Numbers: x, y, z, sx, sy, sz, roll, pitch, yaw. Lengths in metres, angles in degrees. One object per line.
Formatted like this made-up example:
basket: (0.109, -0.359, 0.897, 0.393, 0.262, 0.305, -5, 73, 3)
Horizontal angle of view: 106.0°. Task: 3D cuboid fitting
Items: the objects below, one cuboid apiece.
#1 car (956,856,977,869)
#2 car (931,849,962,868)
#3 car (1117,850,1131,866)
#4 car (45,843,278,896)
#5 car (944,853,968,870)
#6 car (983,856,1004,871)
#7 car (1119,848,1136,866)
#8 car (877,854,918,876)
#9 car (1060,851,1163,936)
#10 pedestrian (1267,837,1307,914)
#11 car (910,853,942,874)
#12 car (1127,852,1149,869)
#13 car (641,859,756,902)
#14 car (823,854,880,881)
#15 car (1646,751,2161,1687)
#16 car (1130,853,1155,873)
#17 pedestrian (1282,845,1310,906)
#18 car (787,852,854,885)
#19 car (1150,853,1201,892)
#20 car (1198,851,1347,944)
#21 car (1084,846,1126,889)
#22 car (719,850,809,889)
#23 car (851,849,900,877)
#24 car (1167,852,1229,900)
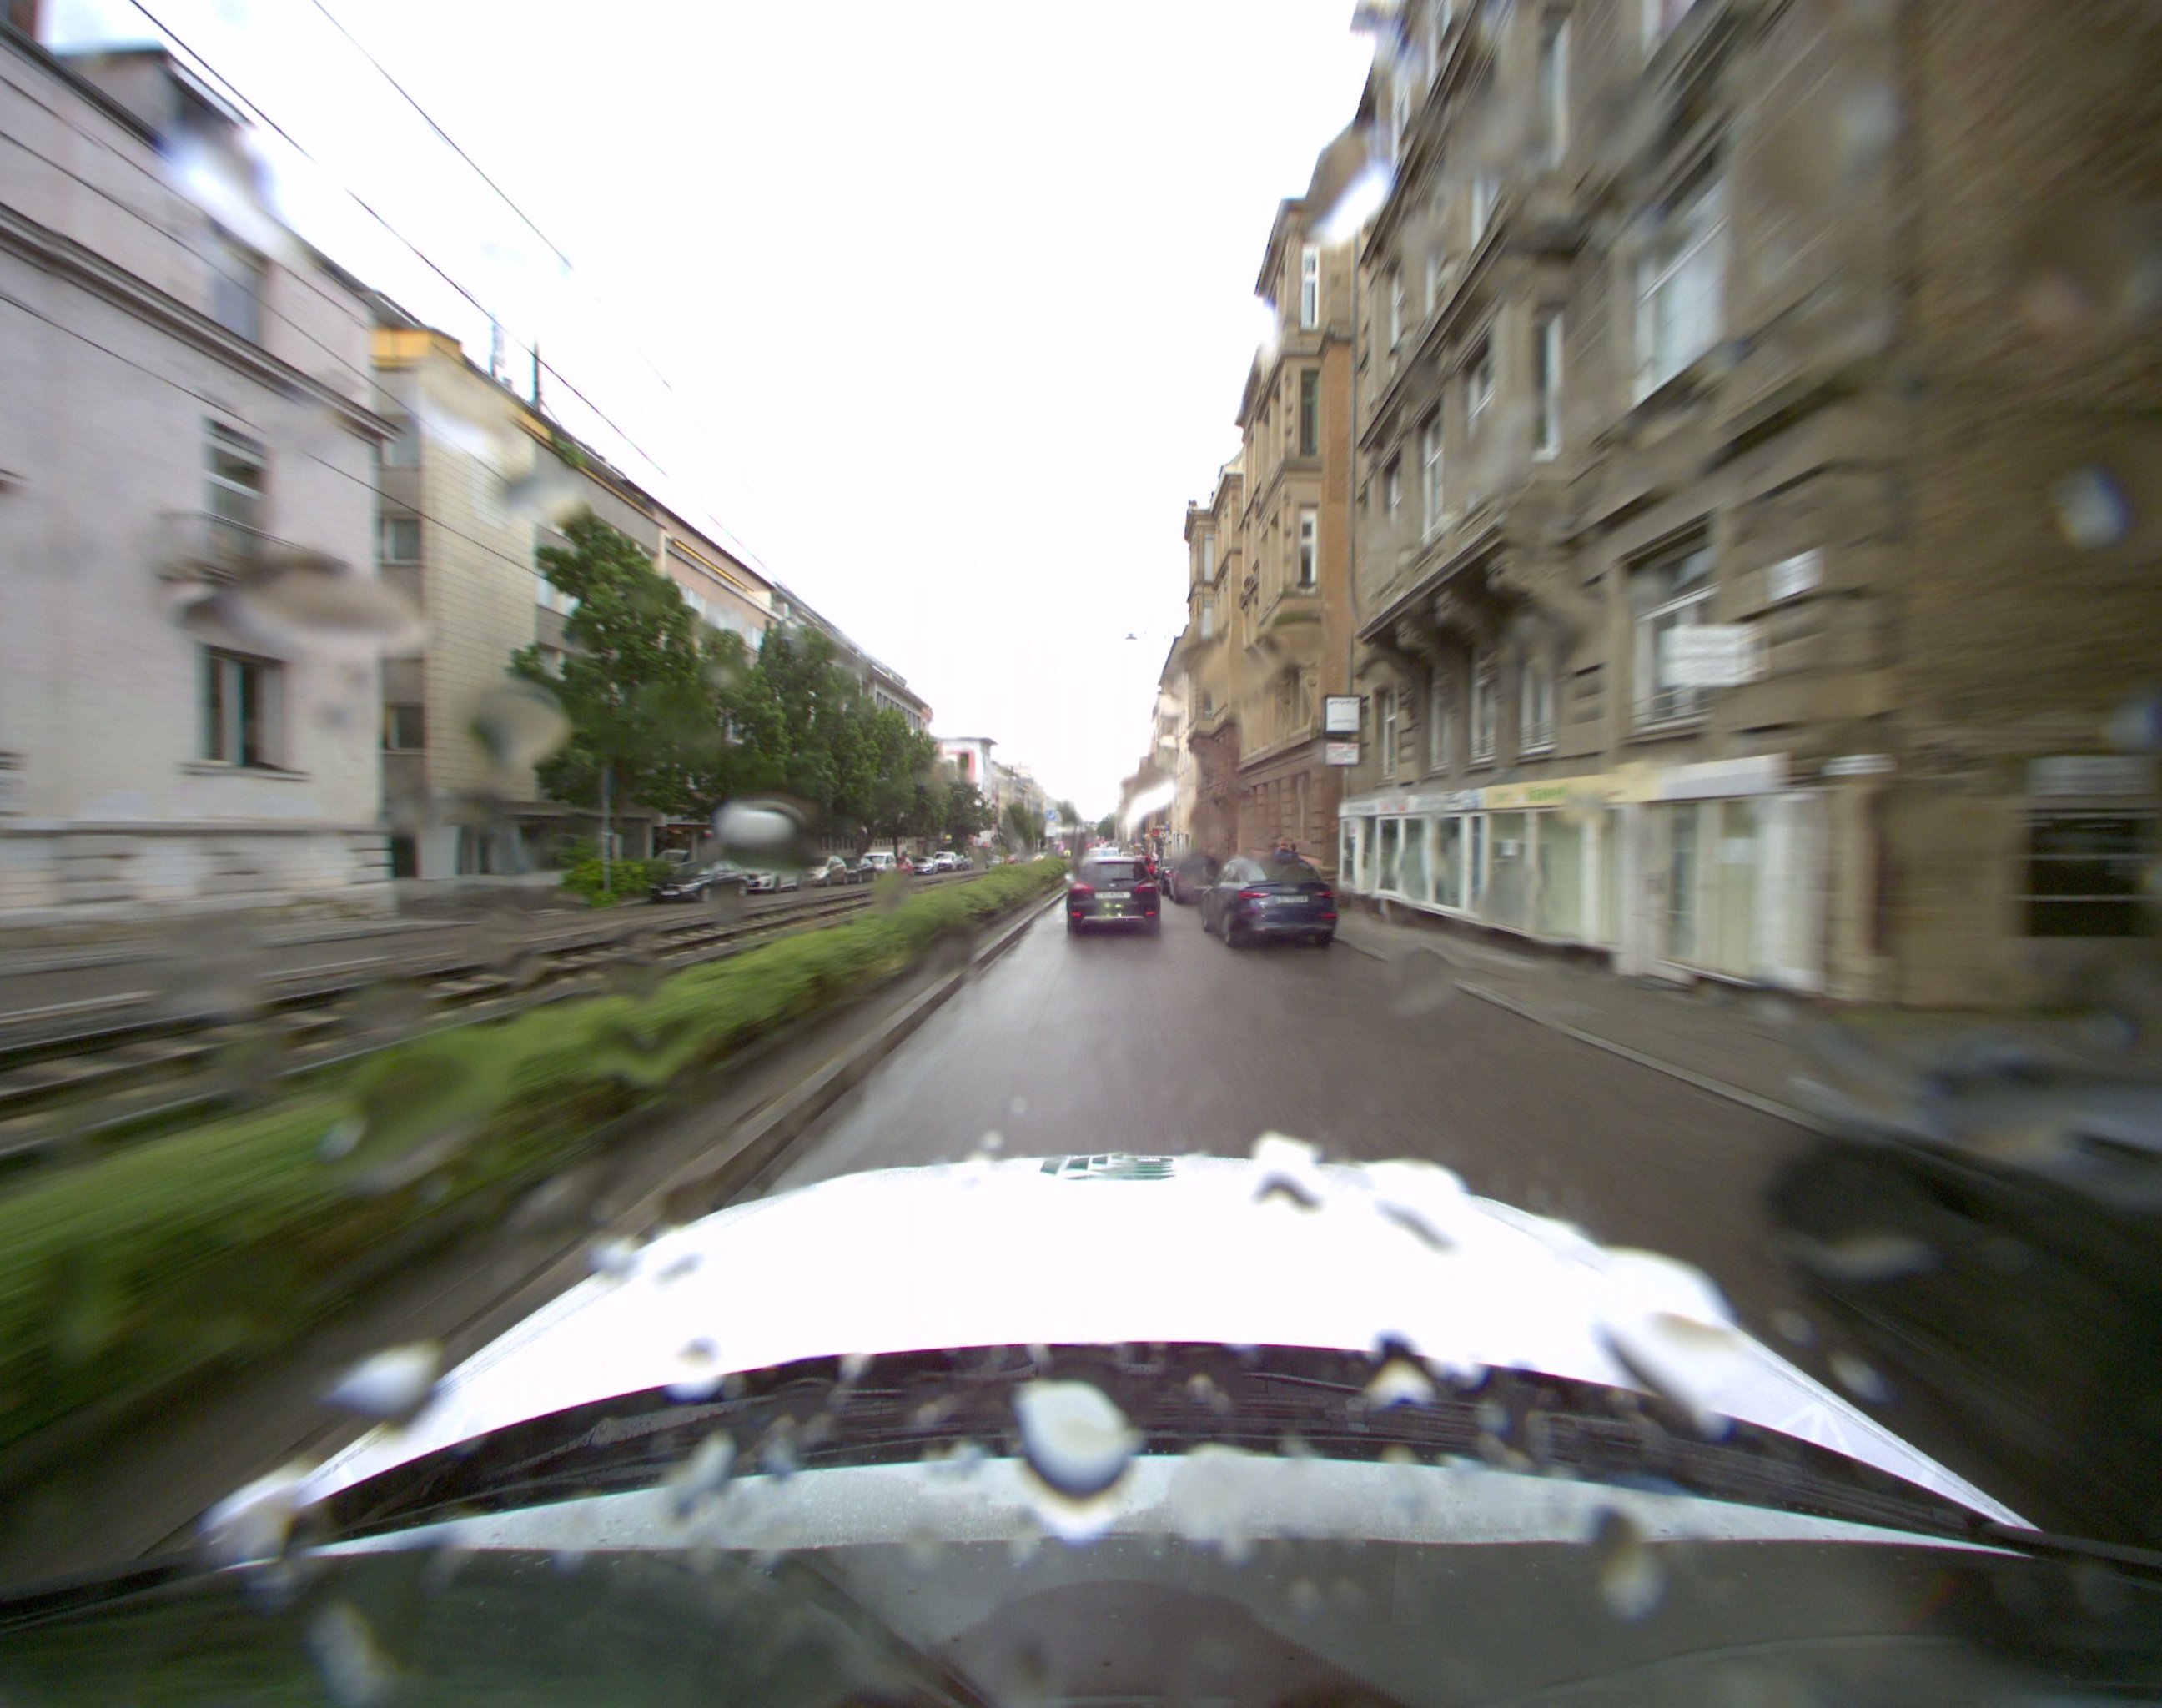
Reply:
car: (-12.303, 0.923, 87.723, 1.544, 1.395, 4.047, 1, -1, 2)
car: (-12.366, 0.480, 74.911, 1.848, 1.637, 4.936, 1, -1, 2)
car: (5.185, 0.548, 98.616, 1.585, 1.781, 3.780, 2, -2, 2)
car: (-25.975, 0.429, 23.115, 4.403, 1.418, 1.861, 0, -1, -1)
car: (-12.470, 0.786, 81.508, 1.688, 1.574, 4.047, 1, -1, 2)
car: (-10.005, 1.126, 93.397, 1.848, 1.637, 4.047, 1, -1, 2)
car: (5.256, 0.368, 92.546, 1.832, 1.781, 3.780, 2, -2, 2)
car: (-13.054, 0.821, 58.269, 1.848, 1.527, 4.047, 1, -1, 2)
car: (0.536, 0.727, 16.586, 1.837, 1.507, 3.998, -1, -1, -1)
pedestrian: (5.057, 0.514, 20.073, 0.700, 1.819, 0.961, -2, 1, 1)
car: (-12.416, 0.788, 65.478, 1.661, 1.558, 4.047, 1, -1, 2)
car: (4.650, 0.531, 66.724, 1.664, 1.421, 3.477, 0, 0, 1)
car: (-13.459, 0.948, 28.997, 1.687, 1.378, 4.722, 1, -2, 2)
car: (-12.983, 0.794, 46.314, 1.848, 1.418, 4.432, -2, -1, 2)
car: (2.775, 0.622, 0.471, 1.838, 1.632, 4.588, 0, -1, 2)
car: (4.516, 0.686, 59.966, 1.664, 1.421, 3.477, 0, 0, 1)
pedestrian: (5.751, 0.572, 21.812, 0.517, 1.579, 0.677, -2, -2, 1)
car: (-13.203, 0.763, 41.561, 1.848, 1.549, 4.432, 1, -1, 2)
car: (3.679, 0.701, 32.240, 1.572, 1.460, 3.821, 0, 0, 0)
car: (3.218, 0.701, 14.523, 1.785, 1.407, 4.258, 0, -1, 2)
car: (1.286, 0.615, 41.561, 1.979, 2.060, 4.650, 0, 0, 4)
car: (-13.484, 0.693, 35.026, 1.848, 1.549, 4.722, 1, -1, 2)
car: (-13.104, 0.629, 52.218, 1.848, 1.701, 4.432, 1, -1, 2)
car: (3.772, 0.688, 26.741, 1.643, 1.460, 3.477, 0, 0, 2)
